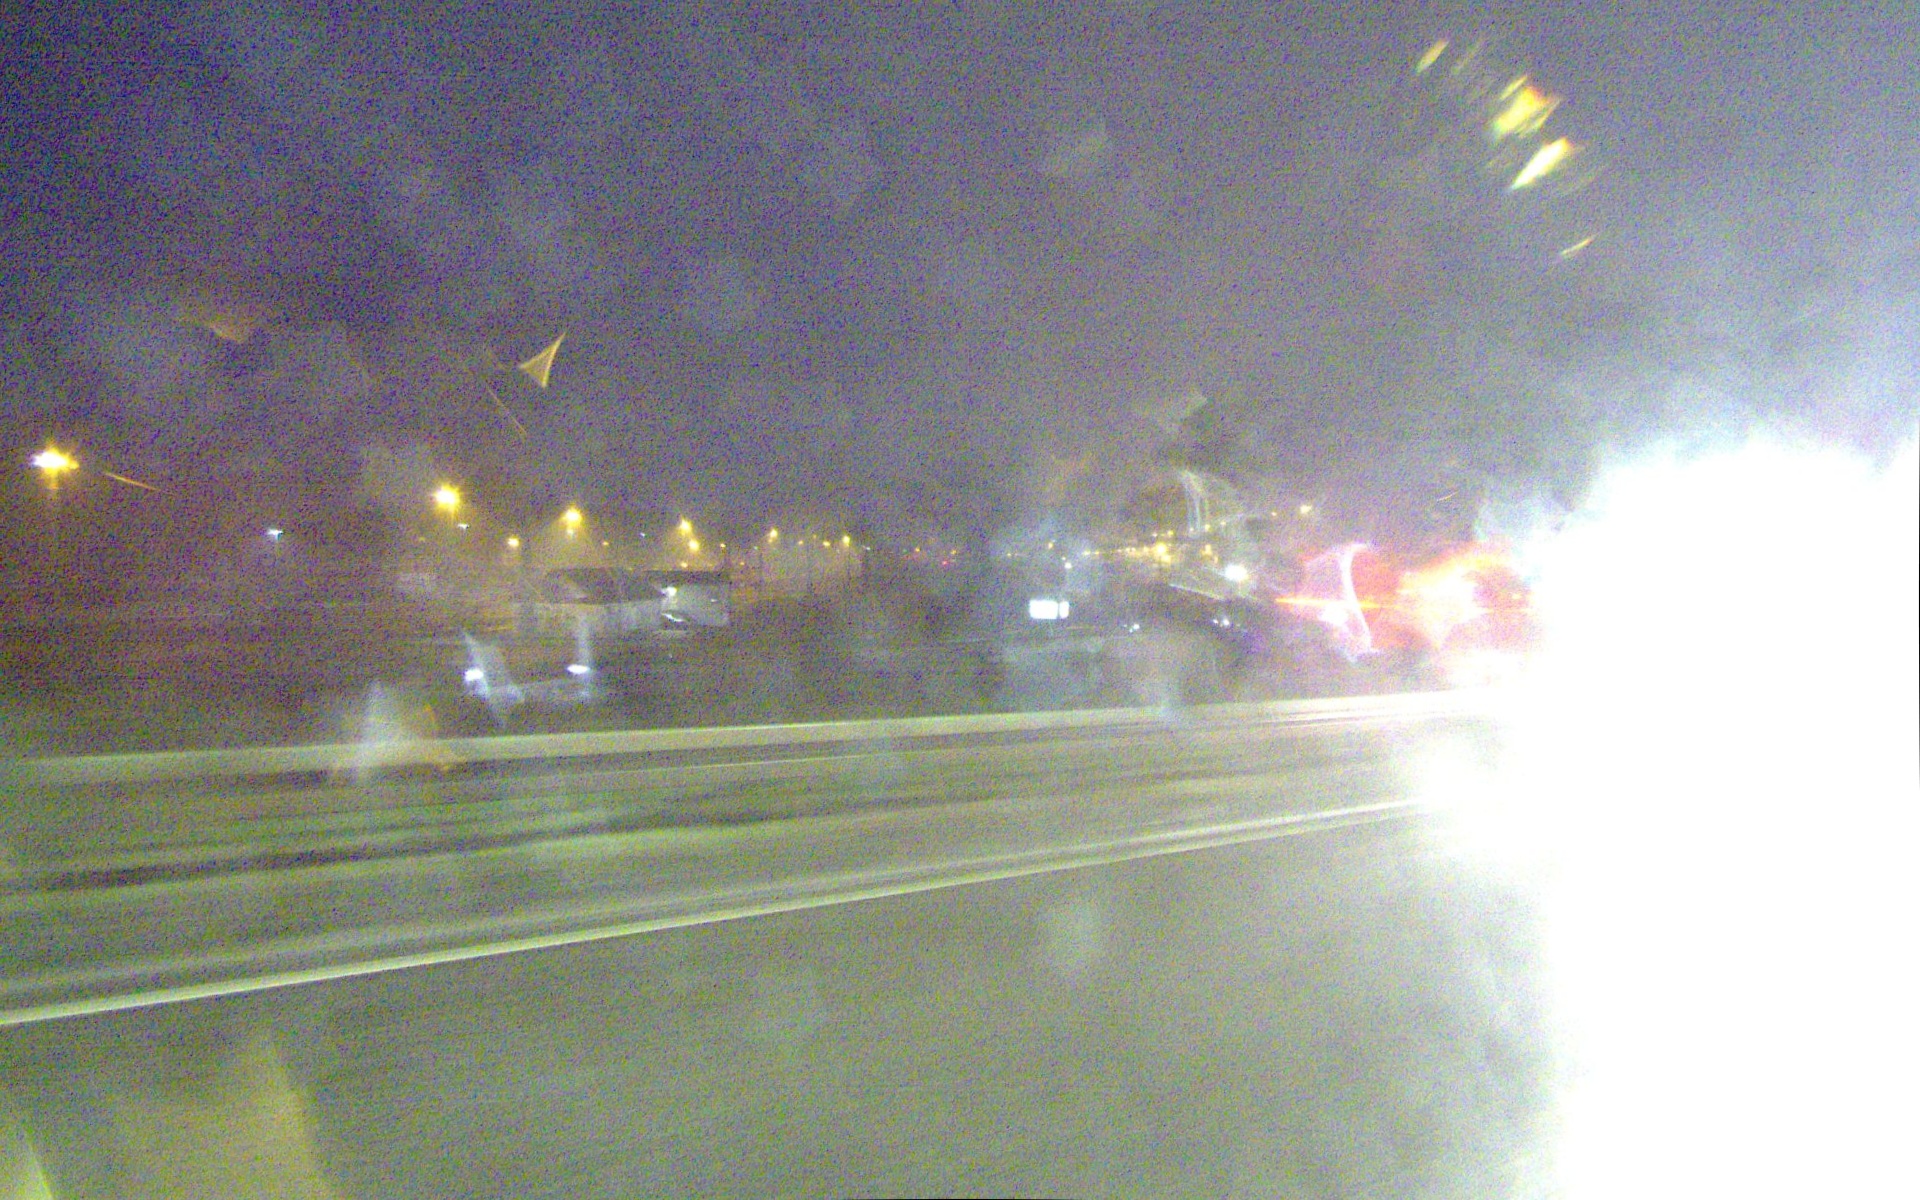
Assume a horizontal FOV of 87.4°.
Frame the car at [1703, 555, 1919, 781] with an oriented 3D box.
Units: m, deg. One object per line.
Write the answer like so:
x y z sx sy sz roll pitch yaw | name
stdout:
10.484 0.641 10.988 5.445 2.014 2.430 1 0 -38 | car
